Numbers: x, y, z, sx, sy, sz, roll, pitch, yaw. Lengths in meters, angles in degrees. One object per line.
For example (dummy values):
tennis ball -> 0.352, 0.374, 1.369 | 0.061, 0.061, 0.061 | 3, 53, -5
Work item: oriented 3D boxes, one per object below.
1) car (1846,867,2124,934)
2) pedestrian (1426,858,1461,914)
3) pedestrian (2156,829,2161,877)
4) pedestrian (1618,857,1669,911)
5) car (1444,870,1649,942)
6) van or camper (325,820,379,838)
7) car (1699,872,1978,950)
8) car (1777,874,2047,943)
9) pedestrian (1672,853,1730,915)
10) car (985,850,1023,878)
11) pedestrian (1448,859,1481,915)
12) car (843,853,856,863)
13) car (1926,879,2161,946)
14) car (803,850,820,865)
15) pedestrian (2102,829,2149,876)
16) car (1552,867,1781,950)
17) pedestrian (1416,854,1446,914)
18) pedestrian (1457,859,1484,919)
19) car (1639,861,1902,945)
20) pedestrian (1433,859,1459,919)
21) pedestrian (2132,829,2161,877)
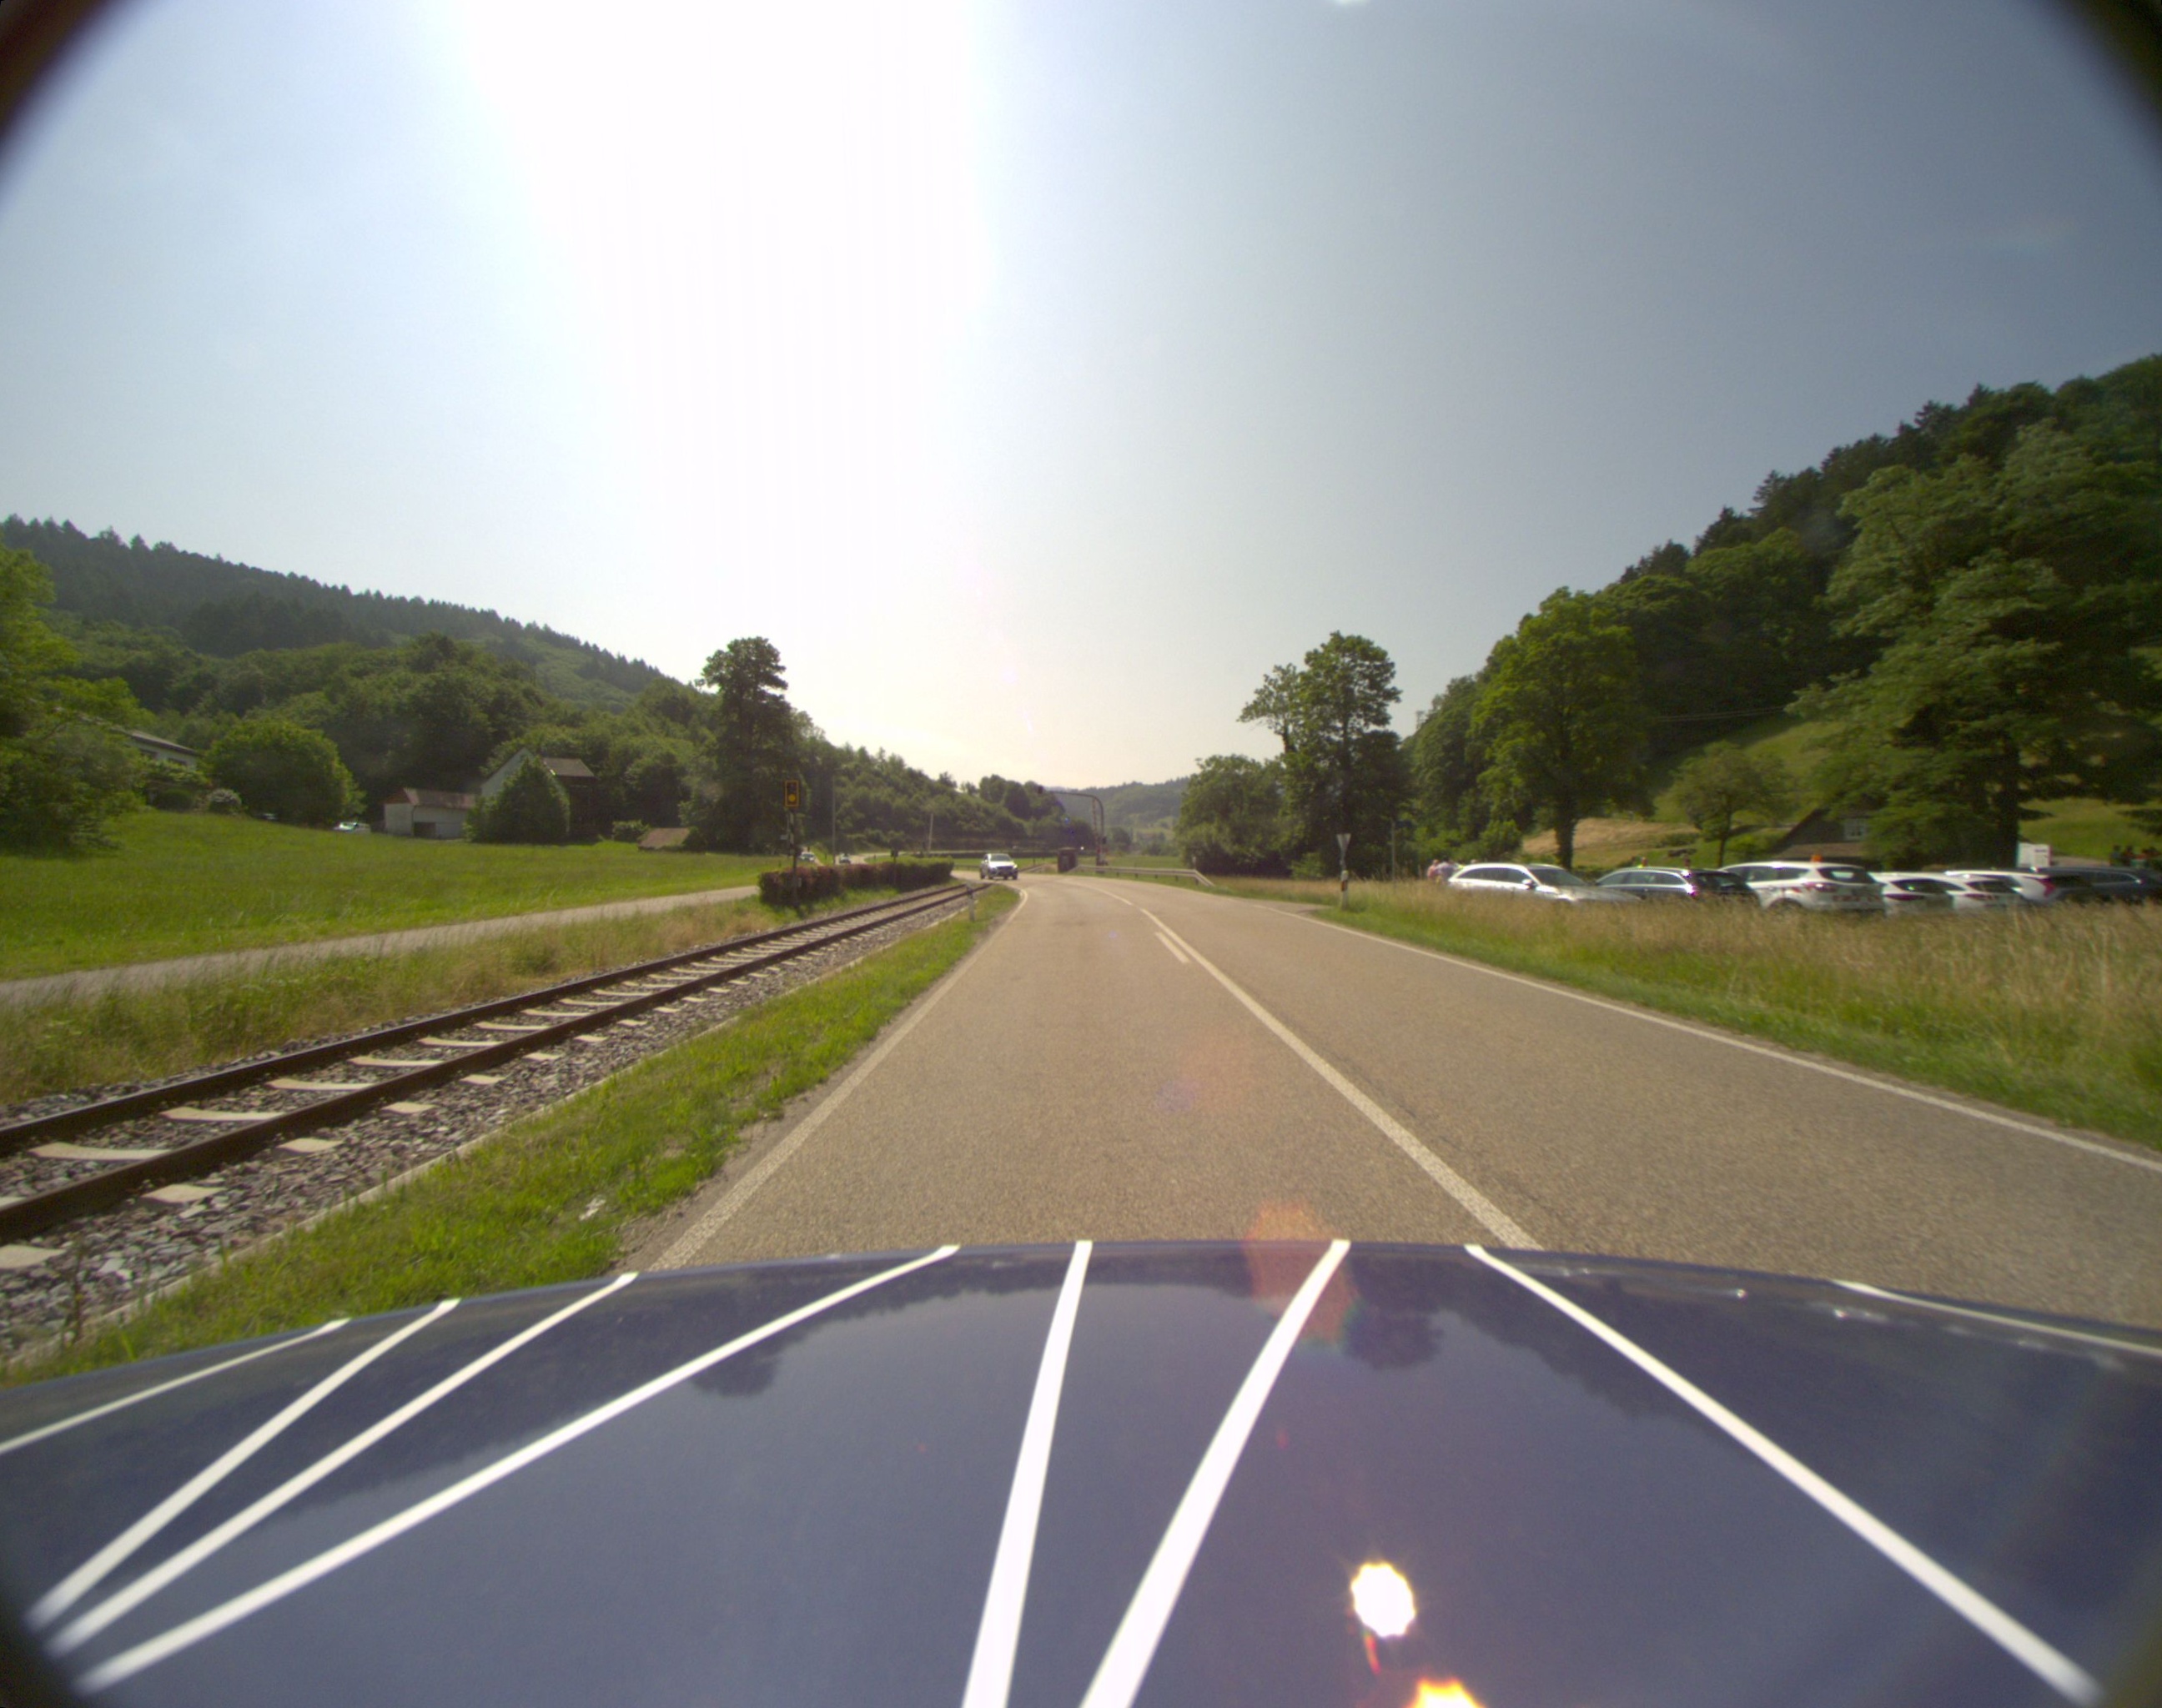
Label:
car -> 24.580, 1.180, 20.971 | 2.001, 1.492, 4.516 | -1, 1, -13
pedestrian -> 12.197, 1.063, 25.588 | 0.790, 1.831, 0.698 | 2, 0, 0
pedestrian -> 45.653, -0.046, 31.561 | 0.701, 2.002, 0.931 | 1, 1, -15
pedestrian -> 19.221, 1.015, 25.977 | 0.957, 1.784, 0.999 | 2, 0, -14
car -> 11.168, 1.188, 18.653 | 1.833, 1.491, 4.274 | 4, -2, -12
van or camper -> -87.174, -2.927, 90.966 | 2.821, 1.938, 5.426 | 2, 0, -22
car -> 19.553, 1.390, 20.020 | 2.000, 1.631, 4.897 | 1, 0, -11
car -> 22.144, 1.385, 20.573 | 2.001, 1.492, 4.516 | 1, 0, -13
pedestrian -> 20.094, 0.966, 24.651 | 1.129, 1.958, 0.862 | 2, 0, -1
car -> -5.350, 0.655, 52.418 | 2.120, 1.803, 4.450 | 1, 0, -12
pedestrian -> 12.485, 1.060, 24.736 | 0.769, 1.785, 0.795 | 2, 0, 16
car -> -40.751, 0.666, 133.904 | 2.001, 1.774, 3.994 | 0, 1, -15
car -> 27.347, 1.545, 21.271 | 2.001, 1.492, 4.516 | 1, 0, -13
car -> -38.877, 0.460, 109.646 | 2.008, 1.837, 4.859 | 6, -2, -21
pedestrian -> 45.055, -0.073, 32.774 | 0.701, 2.002, 0.931 | 1, 1, -10
car -> 14.309, 1.244, 19.013 | 1.999, 1.642, 4.620 | 2, 1, -2
pedestrian -> 11.504, 0.991, 24.964 | 0.663, 1.943, 0.532 | 2, 0, -21
pedestrian -> 12.311, 1.100, 24.047 | 0.647, 1.829, 0.772 | 2, 1, 22
car -> 16.865, 1.085, 19.010 | 1.877, 1.772, 4.768 | 0, 0, -7
pedestrian -> 11.694, 1.107, 24.346 | 0.647, 1.848, 0.772 | 2, 1, 23
pedestrian -> 44.654, -0.036, 31.621 | 0.699, 2.002, 0.934 | 2, 1, 32
